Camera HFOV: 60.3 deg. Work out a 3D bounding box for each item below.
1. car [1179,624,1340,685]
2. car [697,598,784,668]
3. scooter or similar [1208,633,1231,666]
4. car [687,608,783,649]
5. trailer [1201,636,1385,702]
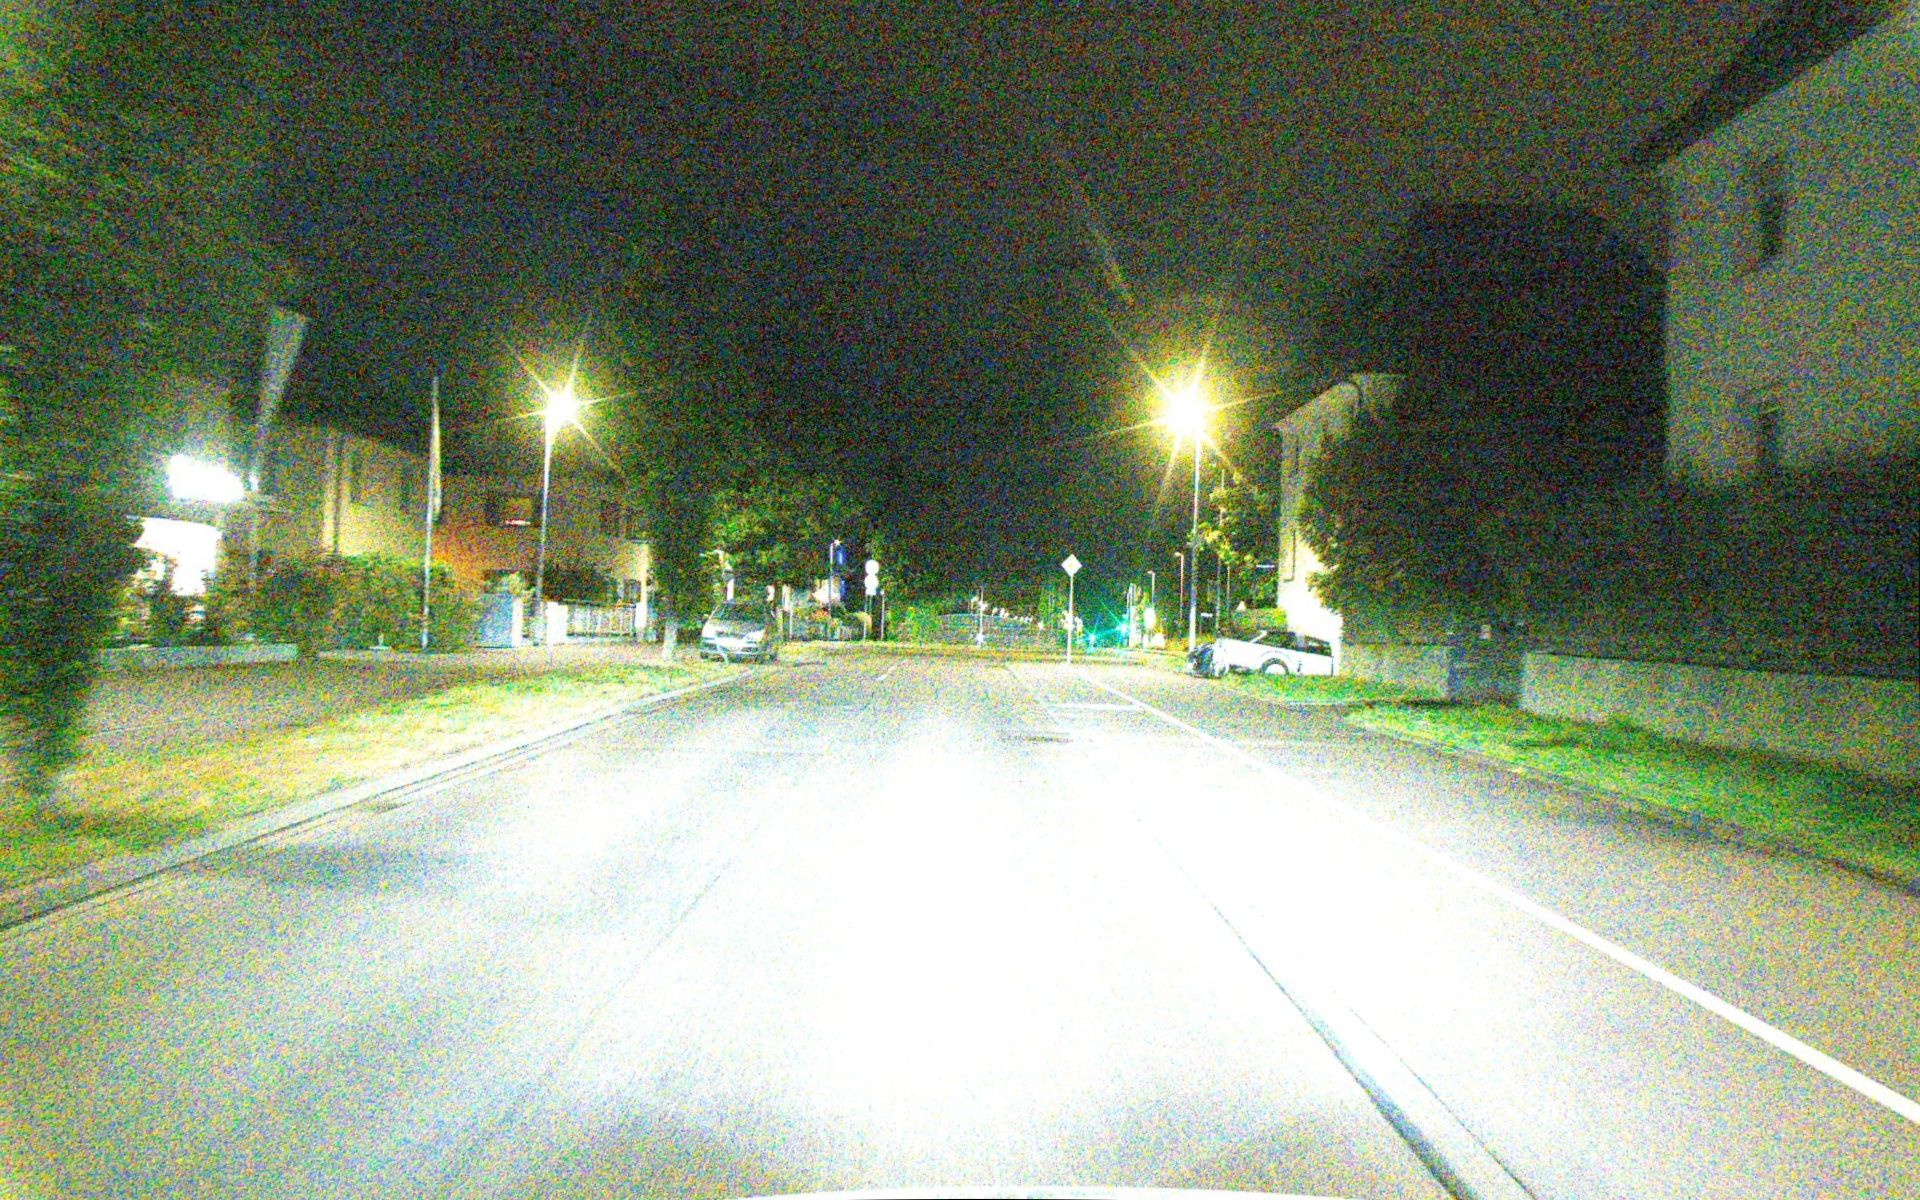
[{"bbox_3d":[6.822,1.236,37.876,3.323,1.253,1.724,2,0,-2],"label":"car"},{"bbox_3d":[-5.478,0.803,41.708,1.638,1.618,3.986,3,0,-1],"label":"car"},{"bbox_3d":[10.615,2.004,67.656,0.599,1.303,1.689,2,-1,-2],"label":"scooter or similar"},{"bbox_3d":[-9.732,1.229,71.599,3.635,1.655,1.783,1,-1,19],"label":"car"},{"bbox_3d":[6.857,1.419,34.341,3.363,1.019,1.954,5,-1,0],"label":"trailer"}]
